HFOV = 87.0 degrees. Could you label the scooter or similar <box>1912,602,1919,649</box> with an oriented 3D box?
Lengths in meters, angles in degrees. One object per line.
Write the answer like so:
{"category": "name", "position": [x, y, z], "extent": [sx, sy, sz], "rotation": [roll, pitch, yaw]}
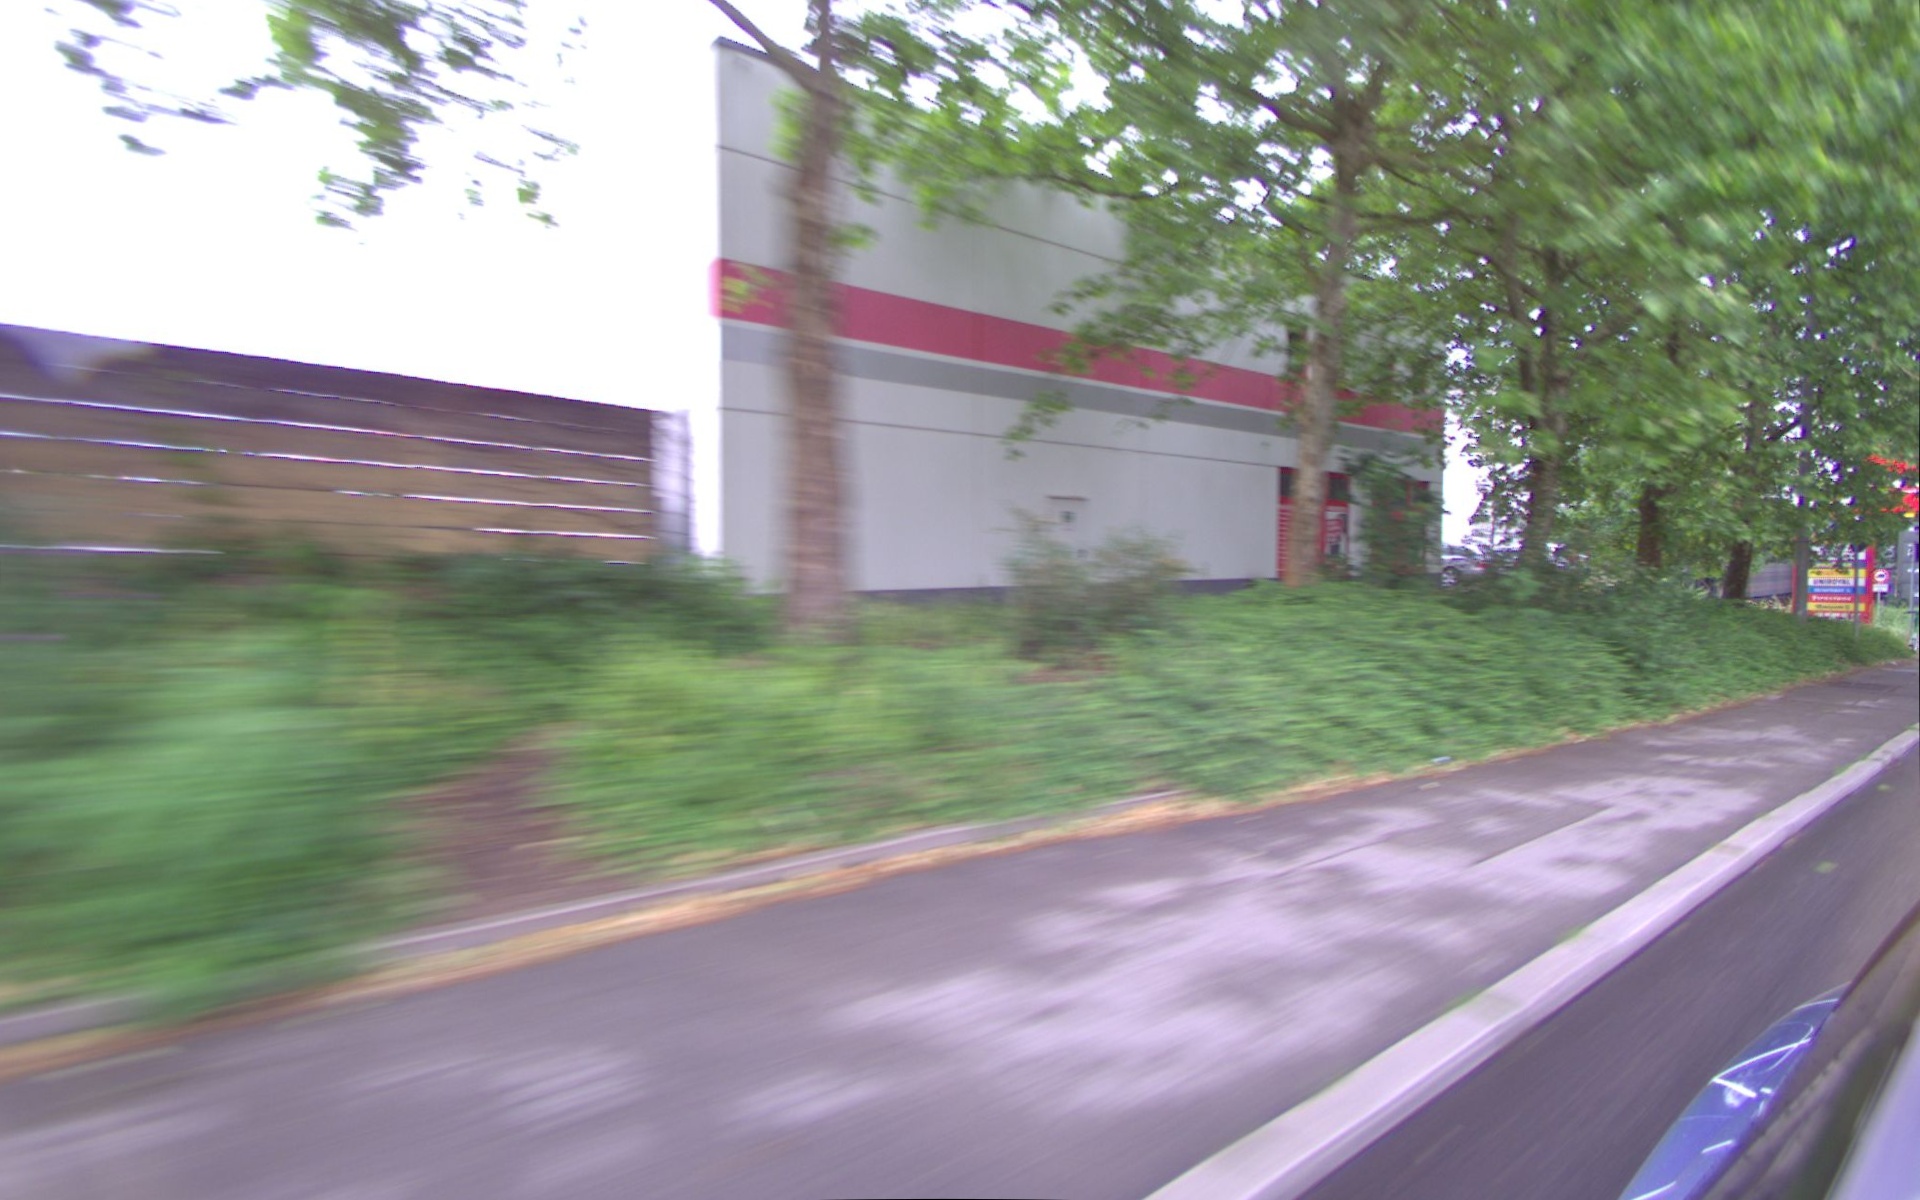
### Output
{"category": "scooter or similar", "position": [25.994, 0.674, 27.226], "extent": [1.504, 1.156, 0.426], "rotation": [-3, 1, -43]}

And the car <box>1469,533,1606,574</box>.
{"category": "car", "position": [21.527, -1.685, 37.840], "extent": [1.870, 1.393, 4.107], "rotation": [-1, 1, -41]}

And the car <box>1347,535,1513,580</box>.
{"category": "car", "position": [15.232, -1.351, 33.011], "extent": [1.769, 1.350, 4.619], "rotation": [0, 1, -40]}

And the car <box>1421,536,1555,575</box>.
{"category": "car", "position": [19.005, -1.564, 36.561], "extent": [1.800, 1.309, 3.928], "rotation": [-1, 1, -39]}
